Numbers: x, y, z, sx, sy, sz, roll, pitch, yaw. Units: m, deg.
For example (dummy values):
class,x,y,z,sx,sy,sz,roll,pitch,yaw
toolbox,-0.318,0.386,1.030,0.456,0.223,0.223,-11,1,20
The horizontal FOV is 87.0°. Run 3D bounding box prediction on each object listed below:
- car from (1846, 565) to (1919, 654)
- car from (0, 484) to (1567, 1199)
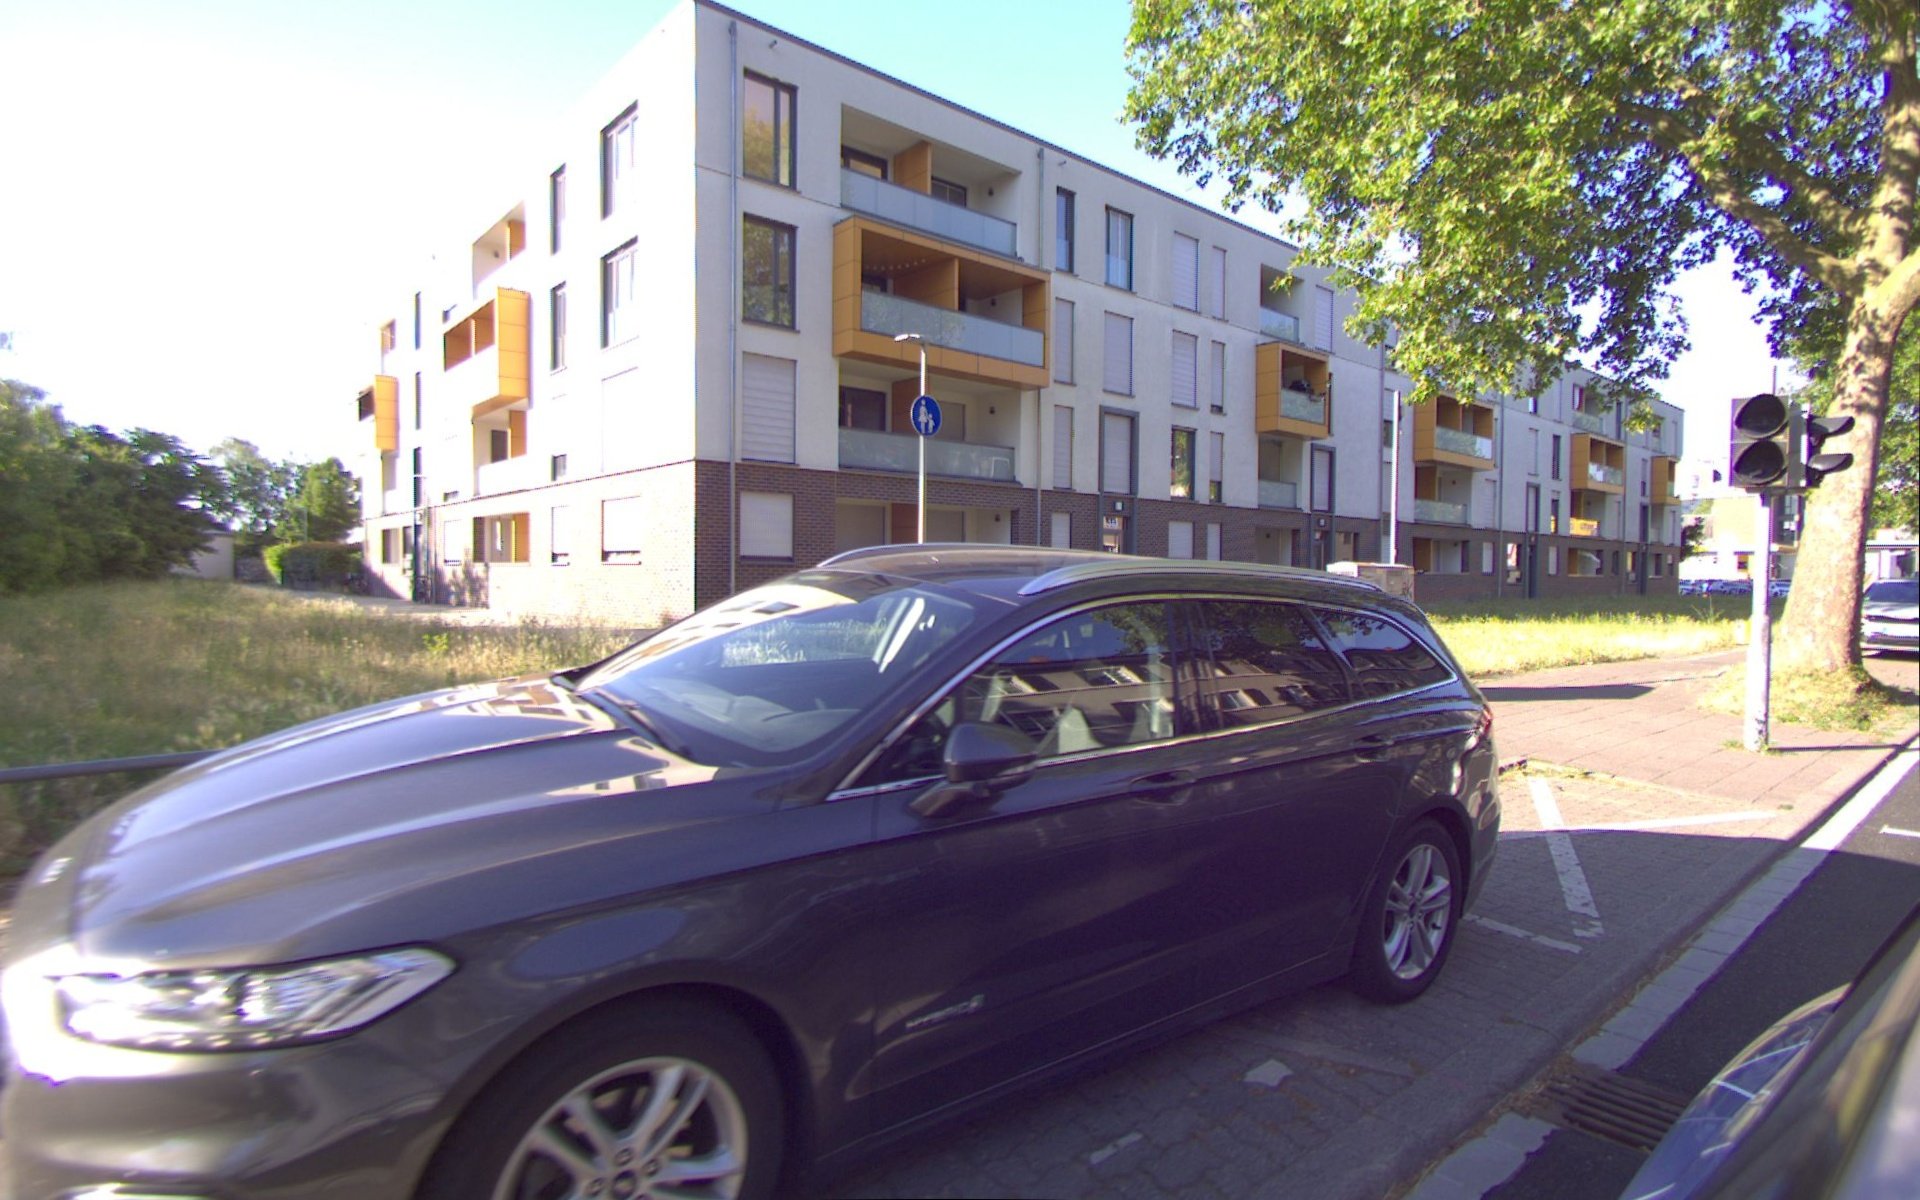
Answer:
class,x,y,z,sx,sy,sz,roll,pitch,yaw
car,19.263,0.158,20.127,4.015,1.632,1.869,-1,3,-41
car,0.035,0.520,3.235,4.612,1.498,1.705,-1,5,-39
